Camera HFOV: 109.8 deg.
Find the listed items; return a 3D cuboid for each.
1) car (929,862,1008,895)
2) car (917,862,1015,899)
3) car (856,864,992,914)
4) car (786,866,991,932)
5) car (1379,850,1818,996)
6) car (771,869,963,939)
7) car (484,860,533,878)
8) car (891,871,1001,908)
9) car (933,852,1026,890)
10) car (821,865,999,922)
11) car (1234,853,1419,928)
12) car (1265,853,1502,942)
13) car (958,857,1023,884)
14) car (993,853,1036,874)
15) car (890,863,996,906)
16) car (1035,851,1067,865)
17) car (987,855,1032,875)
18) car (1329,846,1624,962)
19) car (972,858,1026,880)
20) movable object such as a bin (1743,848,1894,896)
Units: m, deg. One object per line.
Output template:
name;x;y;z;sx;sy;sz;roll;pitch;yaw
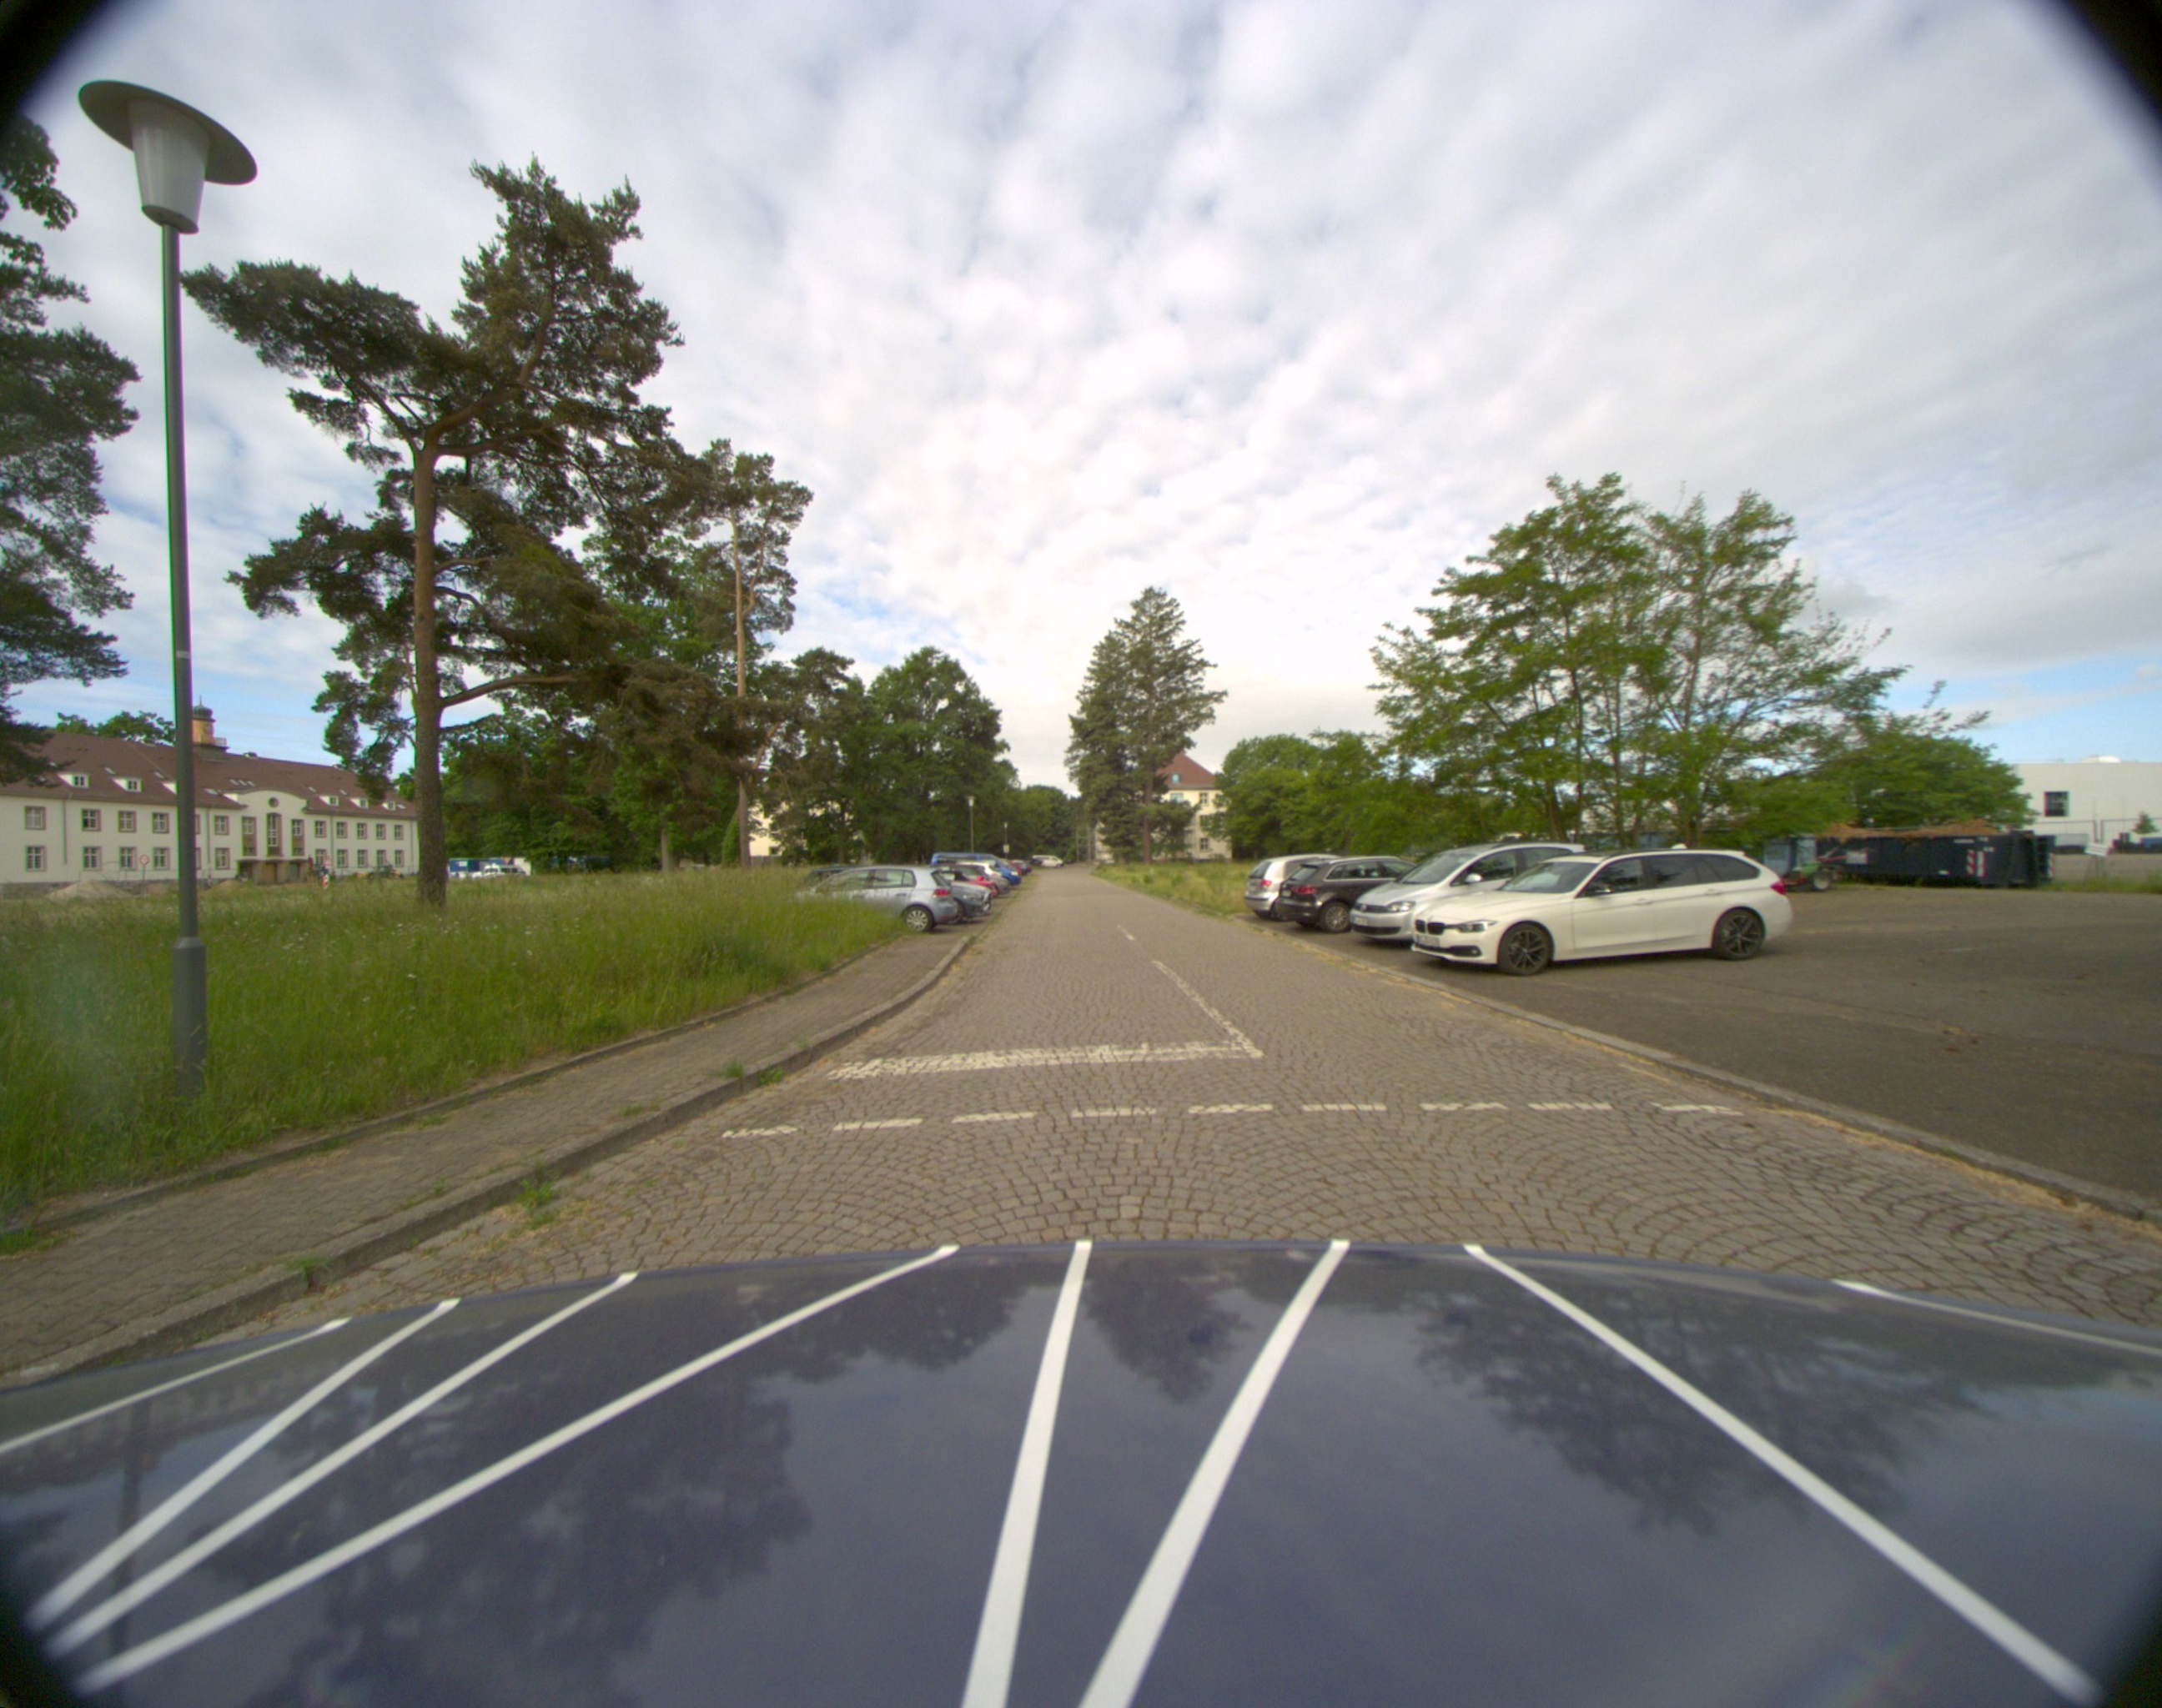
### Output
car;-5.148;1.108;35.019;3.409;1.443;1.637;-1;0;-1
car;-4.821;1.105;32.205;3.849;1.448;1.820;-1;0;0
car;-4.947;1.101;24.334;3.972;1.443;1.799;-1;0;-2
car;-4.724;1.091;19.194;4.771;1.474;1.761;-1;0;-5
car;6.613;0.800;9.993;4.661;1.435;1.801;-3;0;-6
car;-4.560;1.053;16.606;3.774;1.418;1.605;0;0;-3
car;-71.163;1.834;94.559;2.154;2.002;5.224;-1;0;1
car;-4.671;1.222;26.658;3.600;1.200;1.494;-1;0;-1
car;-5.329;0.869;40.438;4.750;1.928;1.999;0;0;-2
car;-4.856;1.102;22.074;4.770;1.474;1.812;-1;0;-2
car;5.747;0.809;18.034;3.689;1.444;1.807;-4;1;-7
car;5.967;0.817;15.291;3.998;1.419;1.750;-4;1;-3
car;-5.832;1.058;49.366;3.998;1.601;2.000;-1;0;-2
car;-6.449;0.898;74.332;3.997;2.002;2.000;-1;0;-1
car;-5.250;1.140;29.300;3.787;1.497;1.798;-1;0;-4
car;-4.879;0.716;123.285;5.031;2.164;2.000;-1;0;0
car;-6.539;1.000;69.930;4.008;1.752;2.000;-1;0;-1
car;6.445;0.758;12.612;3.999;1.538;1.723;-3;1;-7
car;-6.415;1.139;59.681;3.998;1.521;2.000;-2;0;-2
movable object such as a bin;18.987;0.452;19.643;2.397;1.154;1.500;-1;0;3
